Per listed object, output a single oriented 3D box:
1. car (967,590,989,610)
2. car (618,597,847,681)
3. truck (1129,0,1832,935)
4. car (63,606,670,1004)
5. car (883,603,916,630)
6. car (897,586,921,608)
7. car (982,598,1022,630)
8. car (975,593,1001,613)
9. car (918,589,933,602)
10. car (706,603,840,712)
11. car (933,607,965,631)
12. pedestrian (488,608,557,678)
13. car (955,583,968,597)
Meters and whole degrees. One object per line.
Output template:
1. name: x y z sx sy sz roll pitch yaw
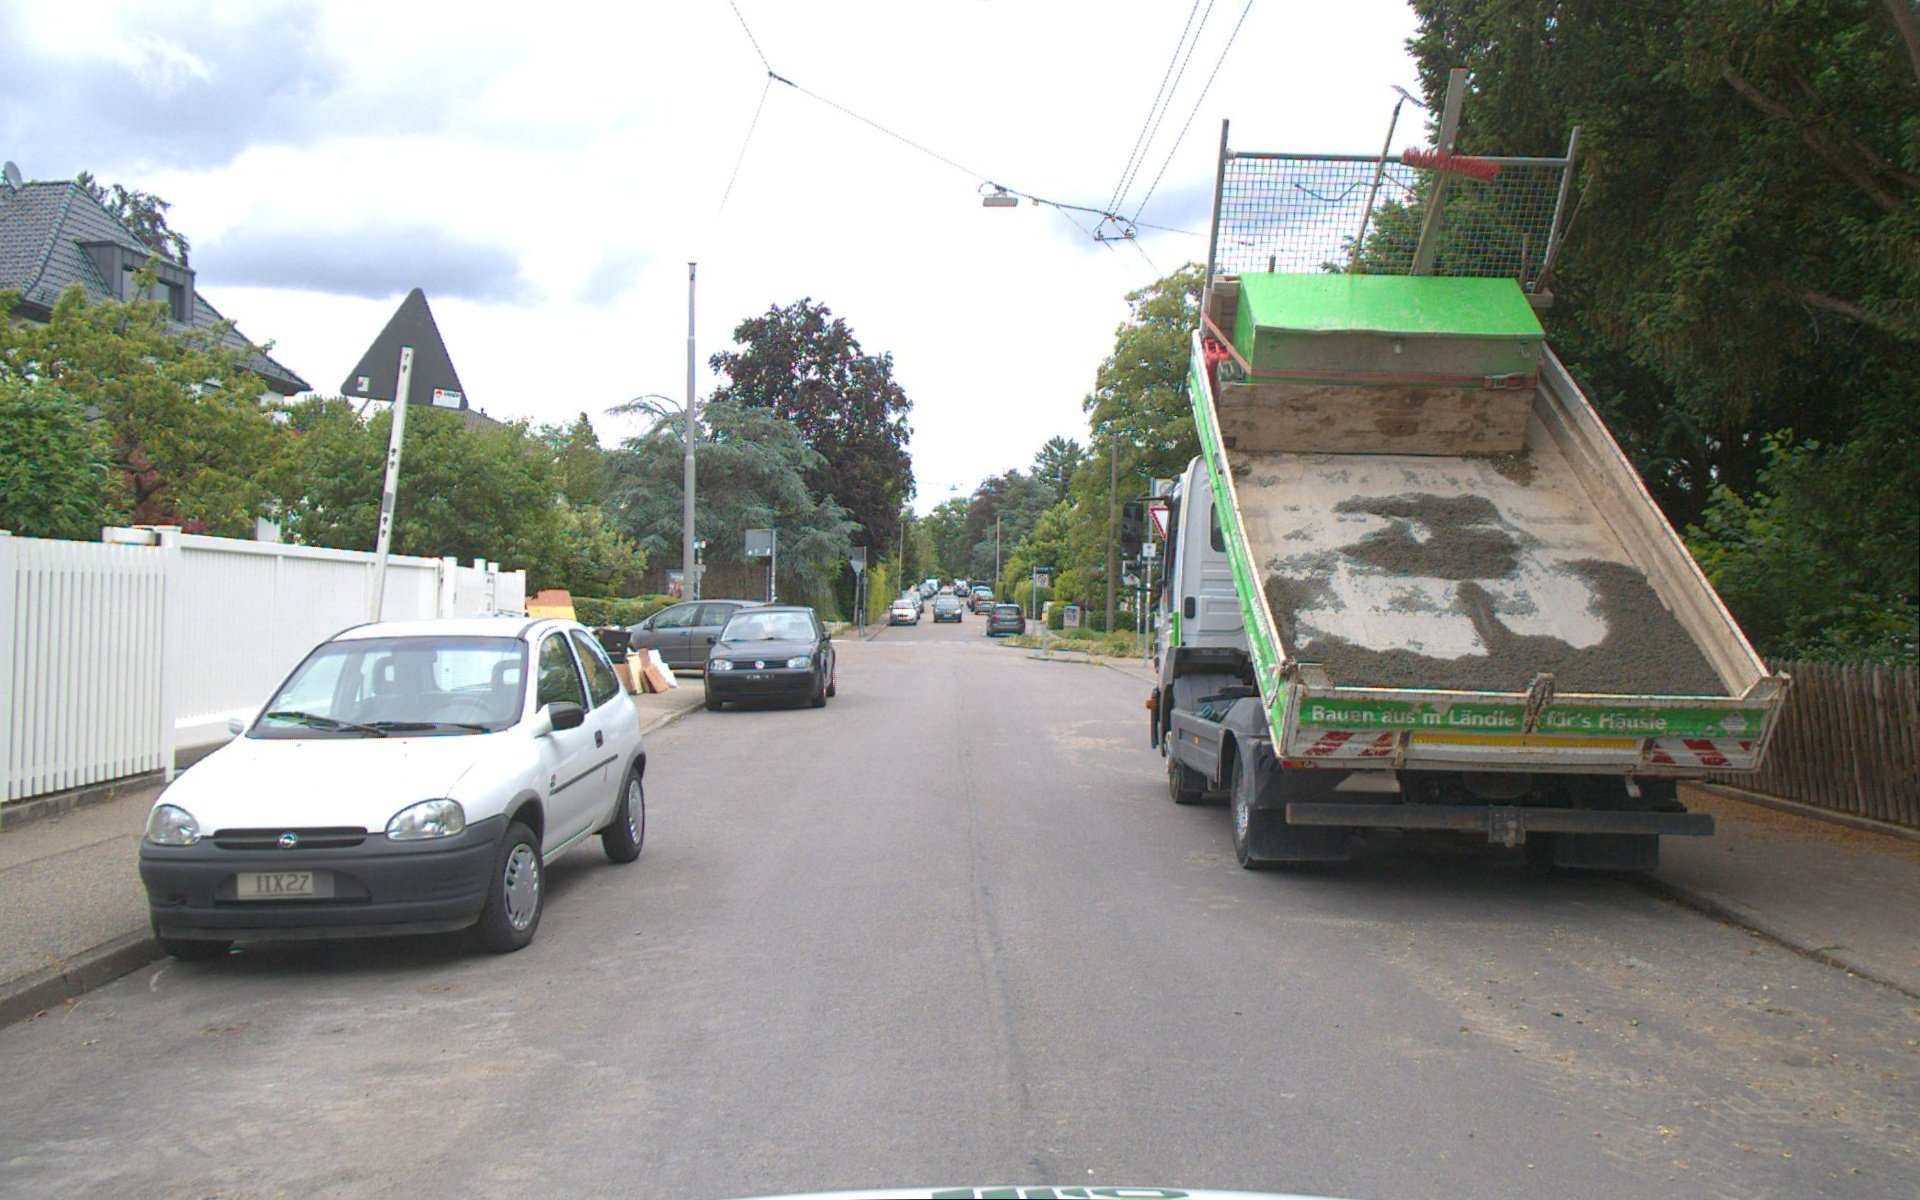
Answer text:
1. car: 1.489 0.011 133.407 1.752 1.556 3.734 1 0 1
2. car: -4.295 0.701 31.395 3.902 1.469 1.828 1 1 16
3. truck: 2.804 -0.888 11.302 2.472 4.831 7.187 1 0 0
4. car: -2.624 0.793 8.333 1.563 1.458 4.000 -1 0 0
5. car: -3.676 0.976 100.734 1.676 1.613 4.001 1 0 2
6. car: -3.951 -0.235 128.251 1.676 1.613 4.001 1 1 0
7. car: 2.041 0.687 80.961 1.743 1.515 3.999 1 0 -2
8. car: 2.070 0.234 124.538 1.773 1.359 3.631 2 1 -1
9. car: -3.973 -0.498 189.294 1.593 1.410 3.597 2 0 -1
10. car: -2.687 0.783 24.445 1.604 1.419 3.987 -2 0 -2
11. car: -0.676 1.177 104.250 1.692 1.432 3.805 0 0 3
12. pedestrian: -7.988 0.773 30.185 0.941 1.246 0.823 2 -1 -43
13. car: 0.151 -1.281 208.446 1.600 1.731 3.493 1 0 -1
